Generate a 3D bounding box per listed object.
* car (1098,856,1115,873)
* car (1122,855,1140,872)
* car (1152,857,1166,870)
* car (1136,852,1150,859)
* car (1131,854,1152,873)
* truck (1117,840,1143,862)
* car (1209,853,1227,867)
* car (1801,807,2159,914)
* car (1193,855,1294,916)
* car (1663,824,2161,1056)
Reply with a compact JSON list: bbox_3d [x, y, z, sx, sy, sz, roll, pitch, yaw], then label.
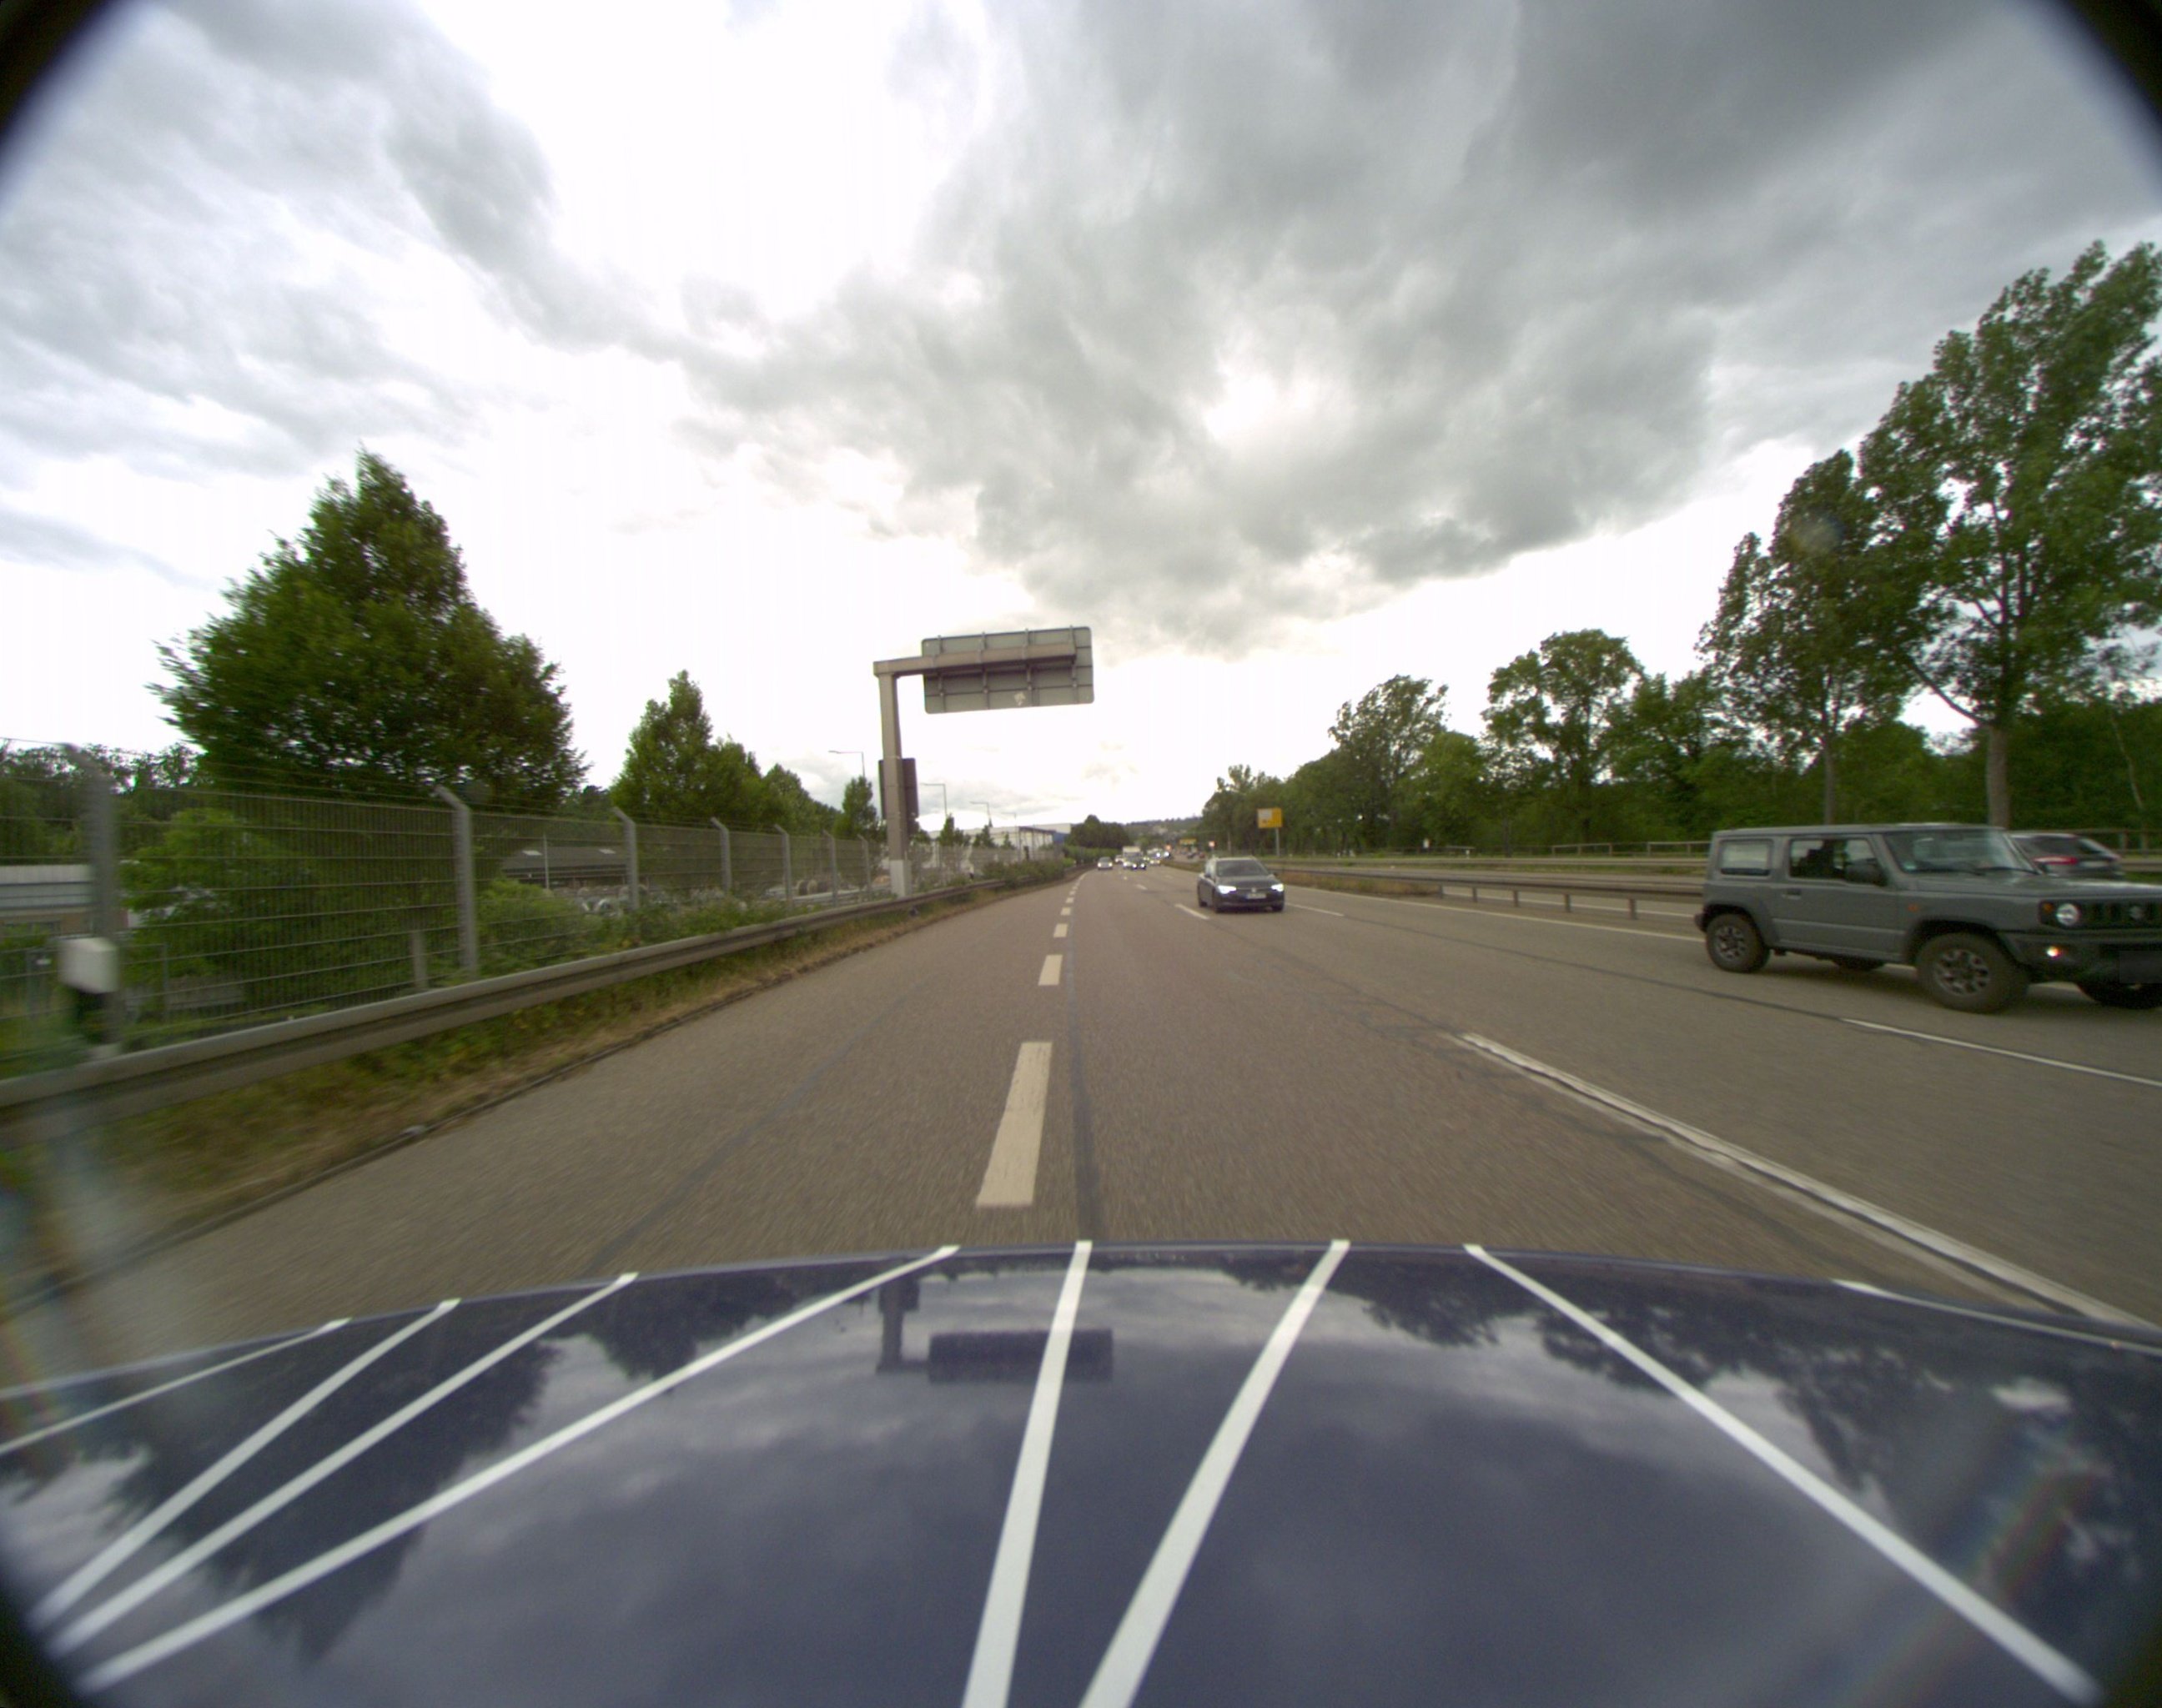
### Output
[{"bbox_3d":[3.141,1.331,94.764,1.998,2.001,4.001,-4,0,1],"label":"car"},{"bbox_3d":[6.357,1.196,97.163,1.998,2.001,4.001,-4,0,1],"label":"car"},{"bbox_3d":[12.777,1.524,124.559,1.998,2.001,4.001,-4,0,1],"label":"car"},{"bbox_3d":[19.260,0.451,235.567,3.996,2.002,2.001,-4,0,4],"label":"car"},{"bbox_3d":[6.727,1.076,84.946,1.998,2.001,4.001,-4,0,1],"label":"car"},{"bbox_3d":[7.454,-0.473,116.346,3.040,3.141,7.565,-2,1,-3],"label":"truck"},{"bbox_3d":[20.869,0.878,115.848,1.999,2.002,4.000,-2,0,0],"label":"car"},{"bbox_3d":[20.332,0.157,17.695,1.999,2.001,5.221,-4,0,-1],"label":"car"},{"bbox_3d":[4.380,0.799,21.156,1.940,1.492,4.304,-1,0,1],"label":"car"},{"bbox_3d":[8.311,0.631,7.714,1.685,1.726,3.998,-2,0,-1],"label":"car"}]
